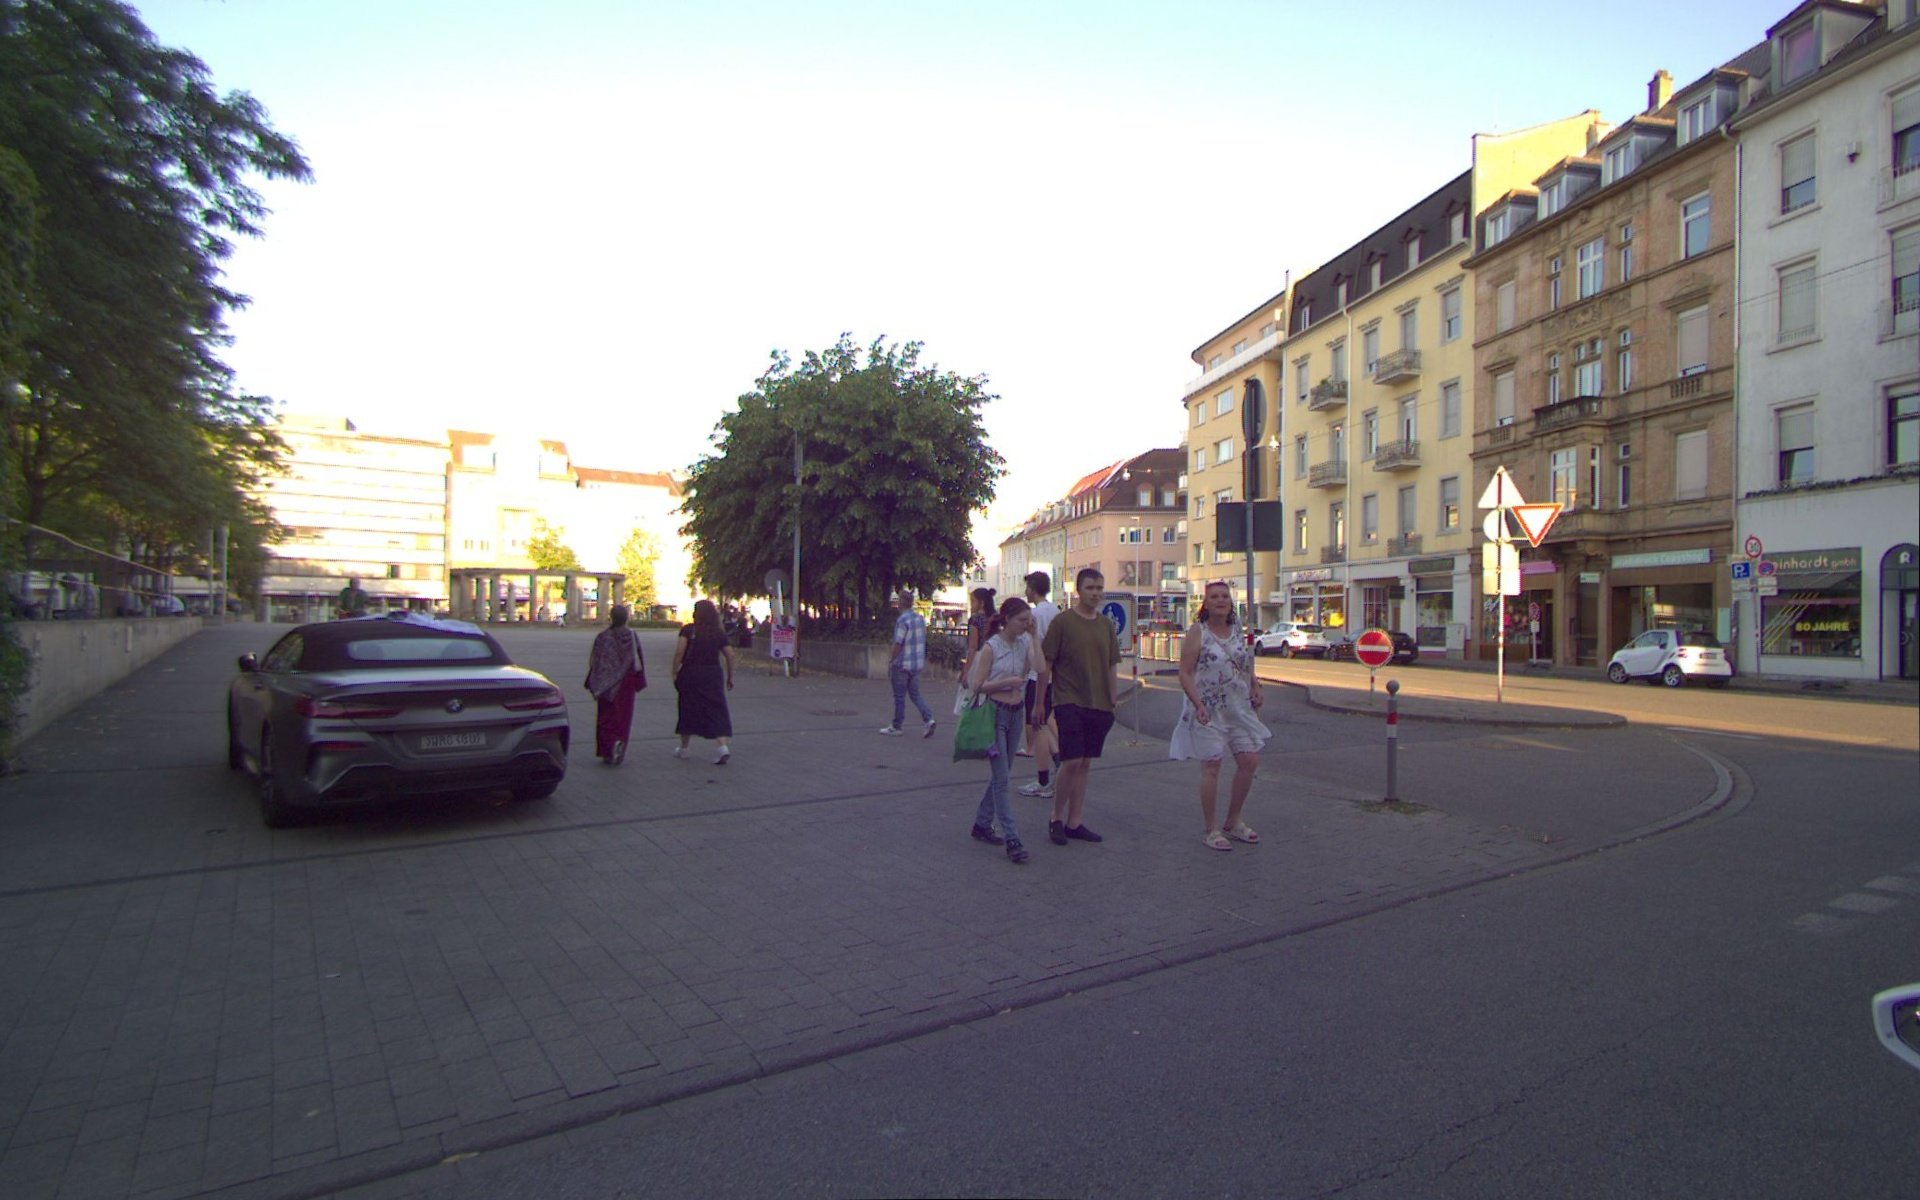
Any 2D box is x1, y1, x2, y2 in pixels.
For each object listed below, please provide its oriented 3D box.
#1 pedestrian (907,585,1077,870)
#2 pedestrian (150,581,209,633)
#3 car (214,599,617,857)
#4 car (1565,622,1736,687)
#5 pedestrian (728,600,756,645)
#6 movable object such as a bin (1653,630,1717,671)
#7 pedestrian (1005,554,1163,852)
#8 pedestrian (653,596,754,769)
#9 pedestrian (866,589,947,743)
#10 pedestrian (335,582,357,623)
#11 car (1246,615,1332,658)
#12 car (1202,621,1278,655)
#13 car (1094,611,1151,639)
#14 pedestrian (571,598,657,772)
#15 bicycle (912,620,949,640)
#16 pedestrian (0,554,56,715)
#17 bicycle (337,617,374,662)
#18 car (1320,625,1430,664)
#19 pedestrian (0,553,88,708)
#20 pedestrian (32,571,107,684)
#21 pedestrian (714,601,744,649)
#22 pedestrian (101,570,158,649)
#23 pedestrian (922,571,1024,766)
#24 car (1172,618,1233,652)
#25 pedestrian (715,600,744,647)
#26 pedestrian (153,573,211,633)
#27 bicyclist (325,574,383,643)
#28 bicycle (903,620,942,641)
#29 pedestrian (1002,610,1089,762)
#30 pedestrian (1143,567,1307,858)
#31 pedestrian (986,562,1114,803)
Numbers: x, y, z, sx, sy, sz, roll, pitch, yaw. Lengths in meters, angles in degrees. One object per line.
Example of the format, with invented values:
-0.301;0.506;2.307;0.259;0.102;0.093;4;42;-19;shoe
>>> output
0.220;0.762;6.537;0.703;1.691;0.879;2;0;36;pedestrian
-21.714;0.206;27.960;1.256;1.398;0.729;2;-1;-38;pedestrian
-4.689;0.768;8.269;2.089;1.450;4.398;1;0;-40;car
19.384;1.484;28.434;1.675;1.606;3.992;1;0;-10;car
-9.913;1.025;45.655;0.896;2.040;0.919;1;-1;13;pedestrian
22.100;1.532;30.636;0.853;1.202;1.395;1;-1;-10;movable object such as a bin
0.827;0.667;6.868;0.837;1.902;0.712;1;0;-14;pedestrian
-2.529;0.777;9.890;0.789;1.603;0.725;1;0;-28;pedestrian
-0.634;0.771;12.091;0.675;1.769;0.715;2;0;27;pedestrian
-30.036;0.121;49.139;0.725;1.974;0.795;2;-1;-42;pedestrian
15.452;1.678;47.396;1.854;1.768;4.650;1;0;-10;car
14.673;1.968;53.023;1.986;1.564;4.861;1;0;-9;car
9.740;1.463;60.525;1.785;1.538;4.223;1;0;-14;car
-3.260;0.774;9.443;0.671;1.563;0.588;1;0;-27;pedestrian
-2.008;2.036;68.688;2.396;1.253;0.516;3;-1;-12;bicycle
-11.009;0.383;11.522;0.789;1.805;0.755;2;-1;-33;pedestrian
-12.729;0.811;21.144;0.632;0.893;1.616;1;-1;-32;bicycle
17.071;1.785;41.620;1.964;1.453;4.842;2;-1;-10;car
-11.540;0.367;12.370;1.112;1.843;0.696;1;-1;-36;pedestrian
-14.157;0.431;15.994;0.796;1.749;0.617;1;-1;-36;pedestrian
-9.999;1.068;43.497;0.896;2.040;0.919;1;-1;13;pedestrian
-18.934;0.220;22.924;0.912;1.749;0.696;1;-1;-36;pedestrian
0.140;0.665;10.299;0.767;1.900;0.714;2;0;27;pedestrian
14.094;2.008;58.575;1.840;1.785;4.399;1;0;-10;car
-10.231;1.036;44.597;0.896;2.040;0.919;1;-1;13;pedestrian
-22.123;0.096;28.578;1.256;1.669;0.701;2;-1;-37;pedestrian
-12.787;0.188;21.210;1.000;1.408;0.694;1;-1;-32;bicyclist
-2.498;2.023;67.066;2.460;1.301;0.816;1;-1;10;bicycle
0.896;0.862;10.466;0.703;1.506;0.603;2;0;27;pedestrian
1.745;0.716;6.725;0.865;1.827;0.714;1;0;0;pedestrian
0.758;0.646;8.378;0.965;1.878;0.890;1;0;6;pedestrian
